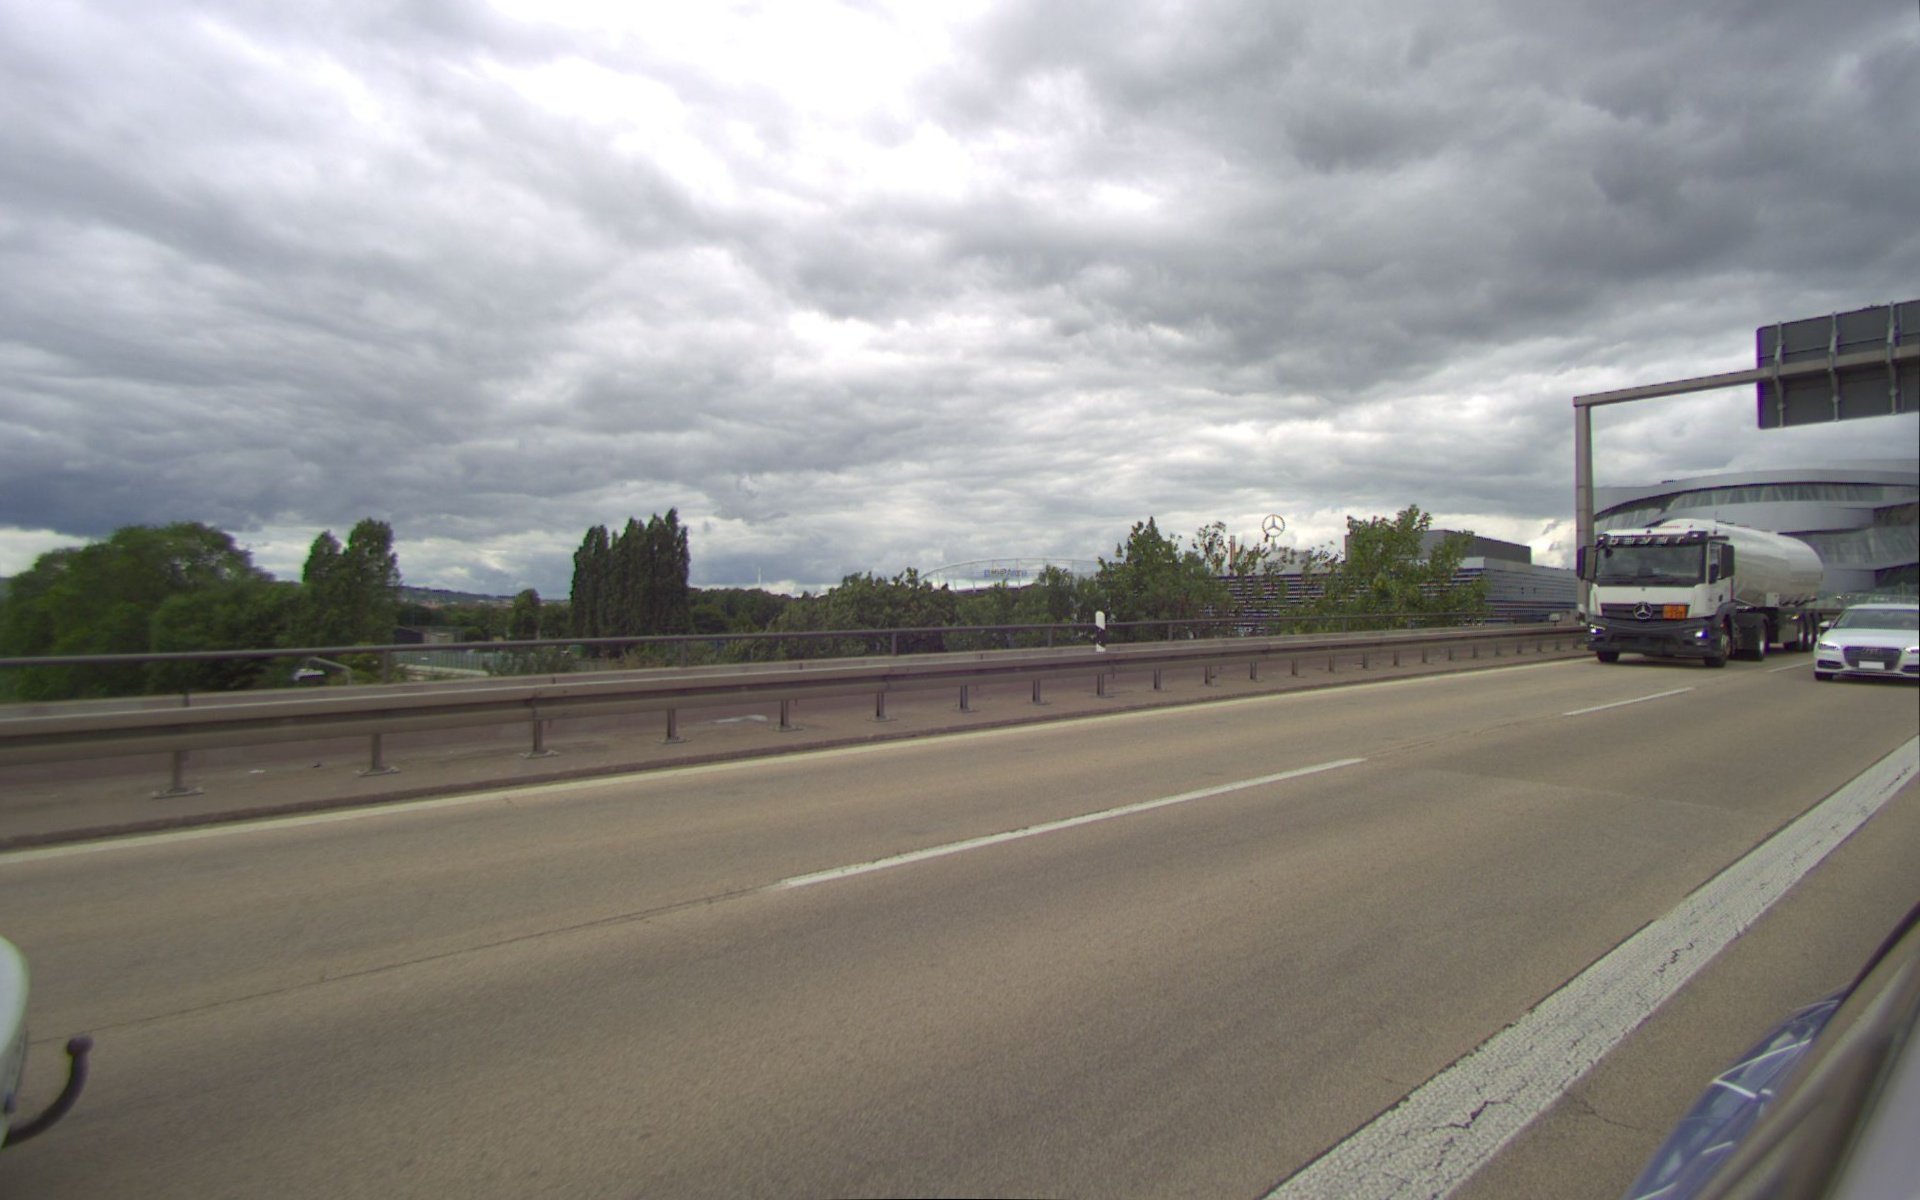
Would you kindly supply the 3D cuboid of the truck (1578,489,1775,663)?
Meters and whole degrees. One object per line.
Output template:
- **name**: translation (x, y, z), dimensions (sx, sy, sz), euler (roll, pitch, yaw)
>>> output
- **truck**: translation (16.547, -0.447, 23.300), dimensions (4.817, 3.559, 2.635), euler (2, -1, -41)

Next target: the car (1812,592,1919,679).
- **car**: translation (17.490, 0.608, 18.793), dimensions (3.861, 1.470, 1.848), euler (0, 0, -39)

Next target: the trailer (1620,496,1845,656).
- **trailer**: translation (21.145, -0.595, 27.317), dimensions (11.024, 3.588, 2.655), euler (0, 1, -41)
